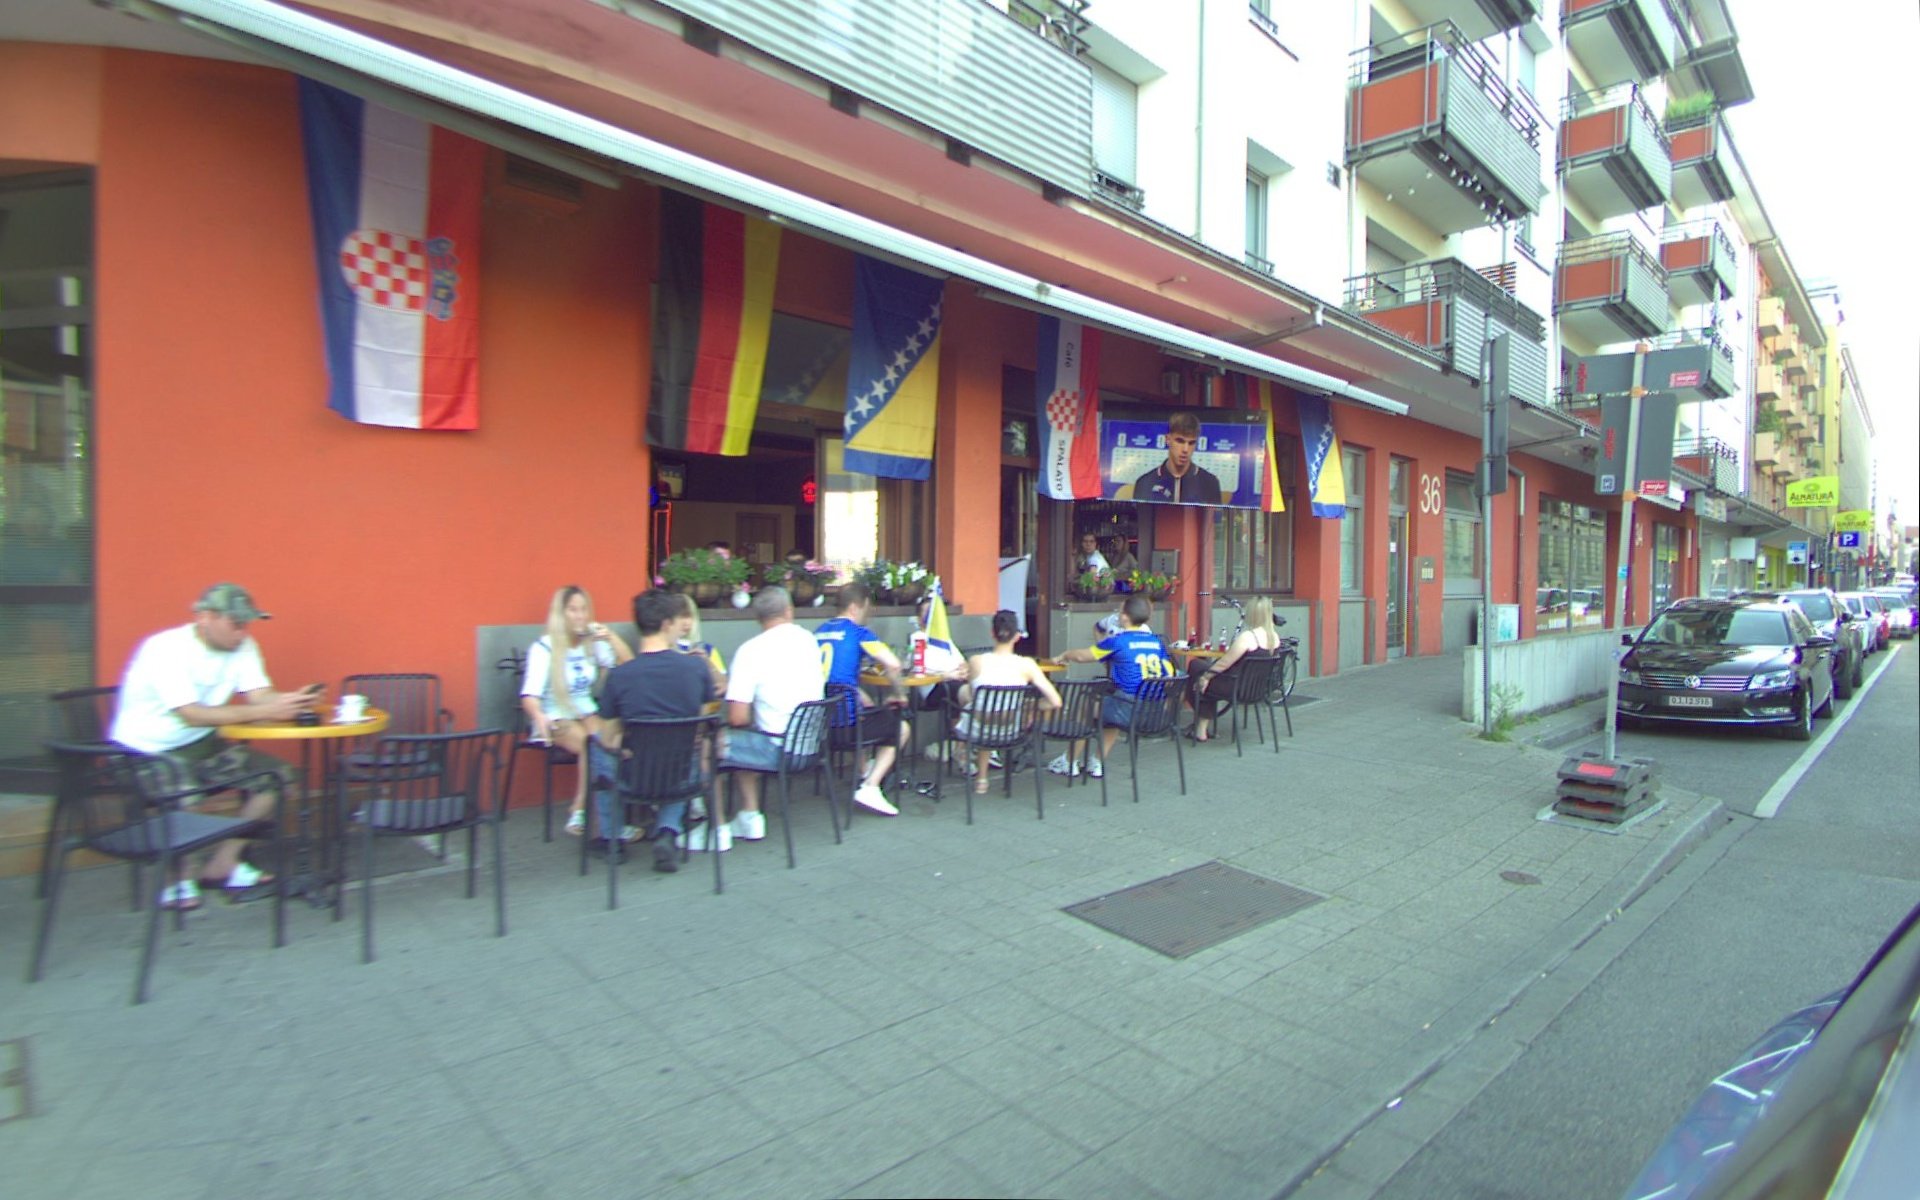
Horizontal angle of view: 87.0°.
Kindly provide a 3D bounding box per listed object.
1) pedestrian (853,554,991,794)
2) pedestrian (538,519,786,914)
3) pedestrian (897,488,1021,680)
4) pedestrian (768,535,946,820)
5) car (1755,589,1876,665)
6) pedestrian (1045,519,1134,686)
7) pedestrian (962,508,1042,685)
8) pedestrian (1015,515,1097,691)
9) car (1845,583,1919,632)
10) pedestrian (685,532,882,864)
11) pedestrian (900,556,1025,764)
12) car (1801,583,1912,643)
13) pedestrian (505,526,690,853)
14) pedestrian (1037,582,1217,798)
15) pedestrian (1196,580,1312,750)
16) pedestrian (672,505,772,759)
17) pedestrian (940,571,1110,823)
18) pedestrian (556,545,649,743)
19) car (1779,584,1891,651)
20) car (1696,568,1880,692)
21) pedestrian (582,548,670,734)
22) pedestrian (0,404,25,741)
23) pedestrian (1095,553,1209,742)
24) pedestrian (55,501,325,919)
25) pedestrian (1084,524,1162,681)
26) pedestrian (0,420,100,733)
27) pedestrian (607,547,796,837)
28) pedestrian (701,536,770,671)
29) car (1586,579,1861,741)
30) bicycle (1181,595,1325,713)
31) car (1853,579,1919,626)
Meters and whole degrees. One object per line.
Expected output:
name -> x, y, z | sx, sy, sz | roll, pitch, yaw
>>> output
pedestrian -> -0.250, 0.438, 6.595 | 0.665, 1.451, 0.552 | 4, 2, 43
pedestrian -> -1.333, 0.448, 4.530 | 0.712, 1.554, 0.748 | 6, 4, 41
pedestrian -> -0.036, -0.183, 11.452 | 1.126, 2.039, 1.155 | 0, 0, -16
pedestrian -> -0.619, 0.419, 6.052 | 0.849, 1.555, 0.669 | 0, 0, 42
car -> 17.723, 0.493, 20.914 | 1.747, 1.421, 3.906 | 0, 0, 43
pedestrian -> 1.414, 0.021, 11.051 | 0.716, 1.742, 0.658 | 1, 1, 44
pedestrian -> 0.445, -0.044, 10.694 | 0.610, 1.799, 0.608 | 1, 0, 42
pedestrian -> 0.998, 0.024, 10.566 | 0.610, 1.760, 0.608 | 1, 1, 44
car -> 30.183, 0.215, 32.779 | 4.228, 1.495, 1.894 | -1, 0, -43
pedestrian -> -0.912, 0.451, 5.228 | 0.648, 1.545, 0.690 | 6, 4, 41
pedestrian -> 0.017, 0.415, 7.477 | 0.712, 1.439, 0.592 | 0, 0, 44
car -> 24.469, 0.316, 27.565 | 4.320, 1.495, 1.864 | -1, 0, -43
pedestrian -> -1.897, 0.411, 5.294 | 0.673, 1.554, 0.644 | 4, 3, 43
pedestrian -> 1.117, 0.555, 6.890 | 0.835, 1.321, 0.880 | 0, 2, -25
pedestrian -> 2.474, 0.506, 8.490 | 0.843, 1.293, 0.709 | 1, 4, 23
pedestrian -> -1.772, 0.220, 7.544 | 0.536, 1.799, 0.513 | 0, 0, 42
pedestrian -> 0.392, 0.528, 6.064 | 0.653, 1.361, 0.738 | 4, 3, 42
pedestrian -> -3.401, 0.394, 9.633 | 0.609, 1.799, 0.609 | 0, 0, 37
car -> 21.414, 0.372, 24.720 | 3.883, 1.495, 1.764 | -1, 0, -45
car -> 13.319, 0.404, 16.189 | 4.070, 1.721, 1.879 | -1, 0, -45
pedestrian -> -3.369, 0.390, 10.221 | 0.609, 1.799, 0.609 | 0, 0, 37
pedestrian -> -6.195, -0.164, 5.952 | 0.838, 2.039, 0.913 | 0, 1, -31
pedestrian -> 1.684, 0.388, 8.838 | 0.843, 1.555, 0.709 | 0, 0, 23
pedestrian -> -3.141, 0.406, 4.205 | 0.635, 1.555, 0.754 | 0, 0, -12
pedestrian -> 2.206, 0.022, 13.677 | 0.799, 2.039, 0.670 | 0, 0, -35
pedestrian -> -6.523, -0.160, 6.915 | 0.845, 2.039, 0.815 | 0, 0, -30
pedestrian -> -1.496, 0.472, 5.864 | 0.767, 1.523, 0.771 | 1, 1, 43
pedestrian -> -3.115, 0.039, 14.018 | 0.746, 1.816, 0.650 | 0, 0, -35
car -> 9.226, 0.565, 12.070 | 4.553, 1.571, 1.876 | -1, 0, -43
bicycle -> 3.042, 0.499, 10.386 | 0.549, 1.101, 1.973 | -1, 0, 45
car -> 34.153, 0.065, 36.776 | 4.290, 1.637, 1.997 | 0, 0, -41
